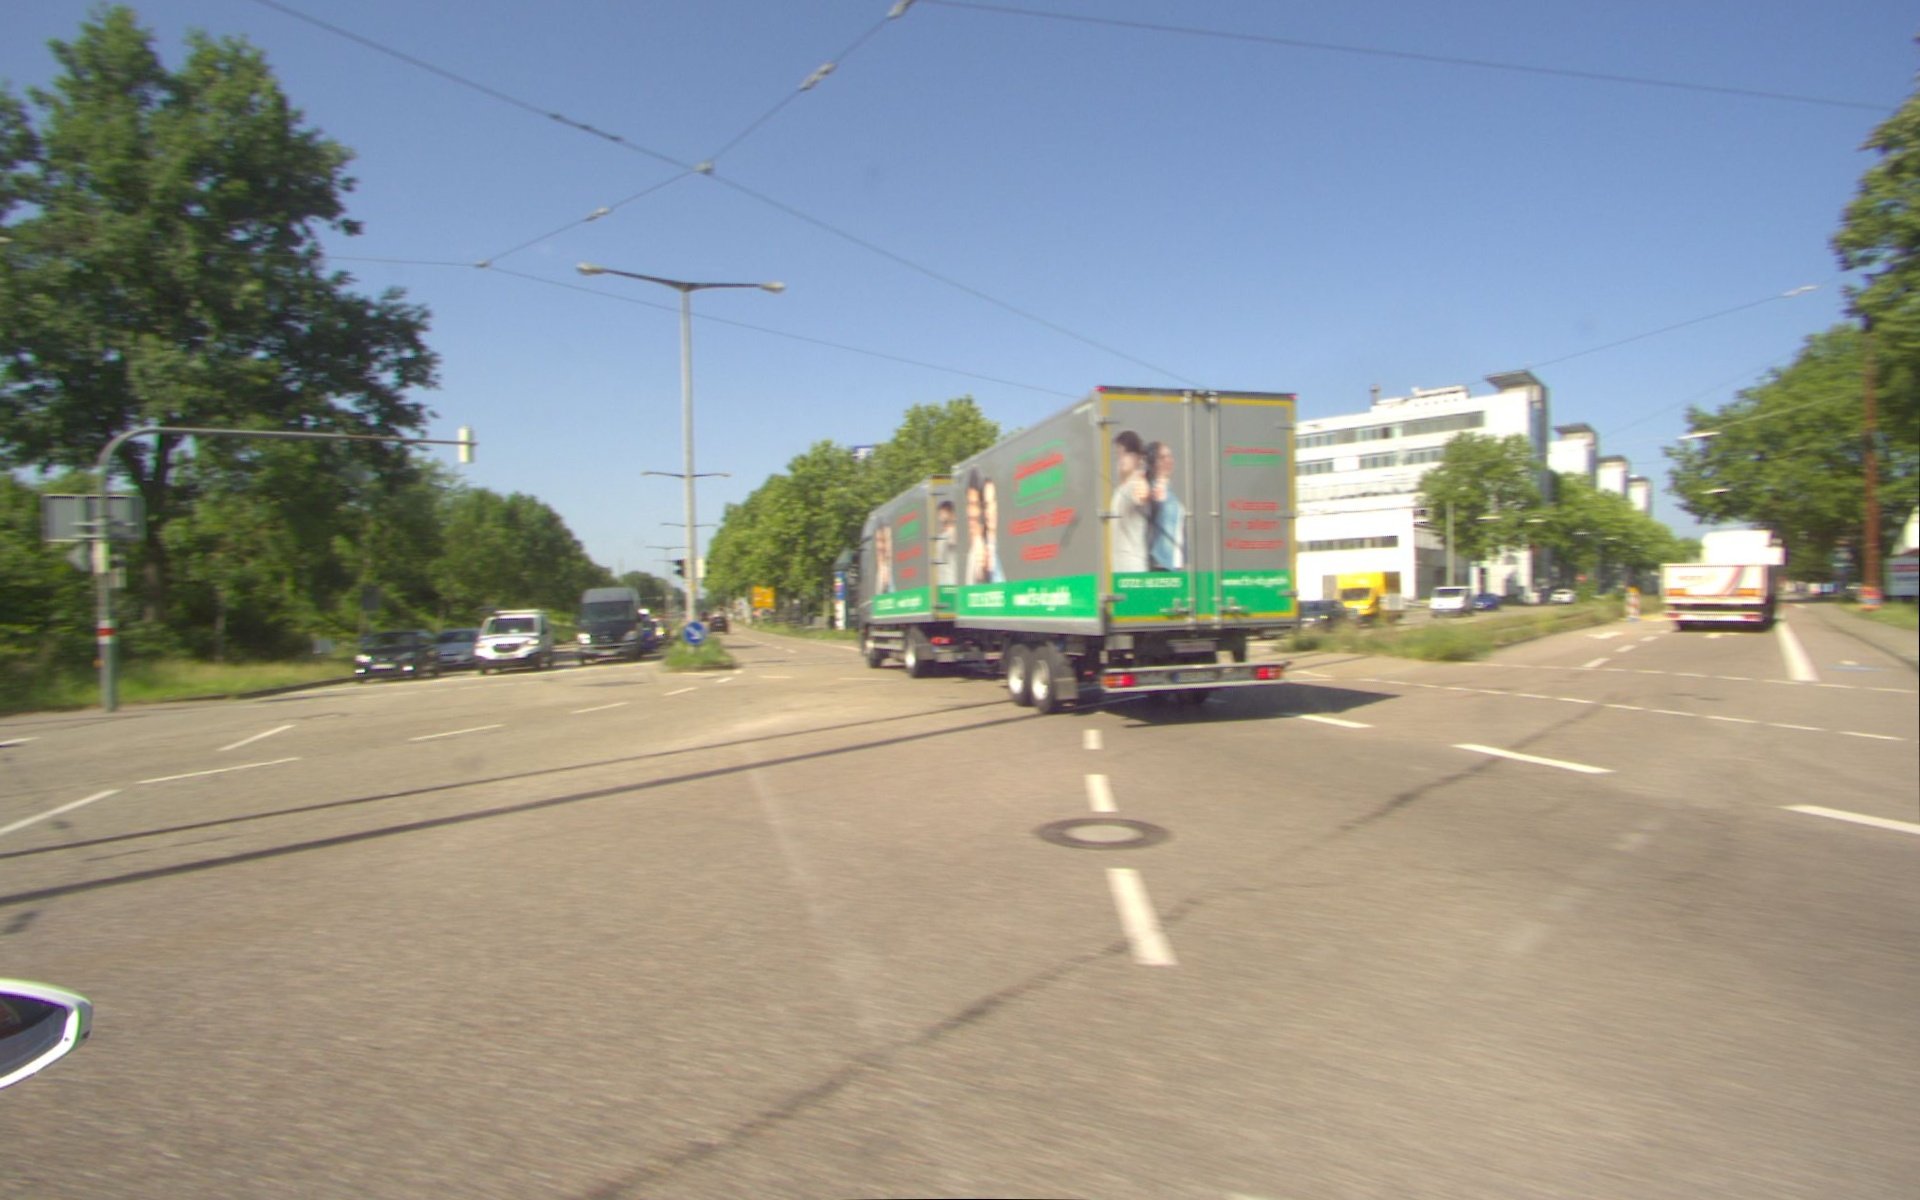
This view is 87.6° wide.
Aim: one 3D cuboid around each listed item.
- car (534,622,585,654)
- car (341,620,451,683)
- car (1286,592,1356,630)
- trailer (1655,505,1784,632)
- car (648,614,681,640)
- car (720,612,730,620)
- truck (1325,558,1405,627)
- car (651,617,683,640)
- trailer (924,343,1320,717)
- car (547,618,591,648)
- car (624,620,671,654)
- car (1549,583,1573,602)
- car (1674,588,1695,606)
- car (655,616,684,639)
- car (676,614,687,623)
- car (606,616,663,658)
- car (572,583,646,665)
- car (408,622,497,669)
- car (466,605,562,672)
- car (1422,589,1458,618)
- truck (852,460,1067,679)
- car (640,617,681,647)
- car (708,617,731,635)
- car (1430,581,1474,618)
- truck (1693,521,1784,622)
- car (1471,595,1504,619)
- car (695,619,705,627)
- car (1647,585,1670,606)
[{"bbox_3d":[-21.361,2.023,53.573,1.964,1.605,4.451,1,-2,-14],"label":"car"},{"bbox_3d":[-16.527,1.475,29.536,1.883,1.662,3.733,-1,-1,-15],"label":"car"},{"bbox_3d":[16.227,0.537,44.935,1.973,1.572,3.977,0,-2,35],"label":"car"},{"bbox_3d":[27.247,-0.986,35.645,2.785,3.823,11.750,-2,0,41],"label":"trailer"},{"bbox_3d":[-19.593,1.808,66.501,1.964,1.661,3.995,1,-2,-15],"label":"car"},{"bbox_3d":[-47.946,3.270,204.212,1.964,1.605,4.451,1,-2,-14],"label":"car"},{"bbox_3d":[20.697,-0.251,50.914,2.269,3.175,6.921,0,-2,35],"label":"truck"},{"bbox_3d":[-20.968,2.029,71.780,1.964,1.605,3.996,1,-2,-14],"label":"car"},{"bbox_3d":[1.690,-0.637,14.584,2.696,3.926,7.726,-1,-1,-15],"label":"trailer"},{"bbox_3d":[-23.715,1.975,60.836,1.964,1.700,4.231,-1,-1,-15],"label":"car"},{"bbox_3d":[-15.529,1.840,49.914,1.964,1.605,3.996,1,-2,-14],"label":"car"},{"bbox_3d":[70.384,-0.858,117.297,1.975,2.039,3.973,0,-2,38],"label":"car"},{"bbox_3d":[89.974,-0.316,124.307,1.975,2.039,3.974,0,-2,37],"label":"car"},{"bbox_3d":[-22.054,2.095,76.099,1.964,1.661,3.995,1,-2,-15],"label":"car"},{"bbox_3d":[-53.738,3.638,193.461,1.964,1.605,4.451,1,-2,-14],"label":"car"},{"bbox_3d":[-13.725,1.548,42.401,1.963,1.605,3.996,-2,-1,-14],"label":"car"},{"bbox_3d":[-12.220,0.851,35.163,1.964,2.641,5.128,-1,-1,-15],"label":"car"},{"bbox_3d":[-18.311,1.614,36.345,1.964,1.560,4.231,-1,-1,-15],"label":"car"},{"bbox_3d":[-13.956,1.189,31.592,1.964,1.894,4.768,-1,-1,-15],"label":"car"},{"bbox_3d":[36.326,0.315,75.709,1.972,2.039,3.980,0,-2,32],"label":"car"},{"bbox_3d":[-0.429,-0.427,22.539,2.689,3.939,8.712,0,-1,-15],"label":"truck"},{"bbox_3d":[-16.478,1.773,55.320,1.964,1.605,3.996,1,-2,-14],"label":"car"},{"bbox_3d":[-22.384,2.407,93.154,1.964,1.605,4.451,1,-2,-14],"label":"car"},{"bbox_3d":[31.804,-0.003,64.647,1.973,2.230,3.977,0,-2,35],"label":"car"},{"bbox_3d":[32.206,-1.075,41.370,2.767,3.878,5.064,0,0,40],"label":"truck"},{"bbox_3d":[41.378,0.580,78.450,1.972,1.816,3.980,0,-2,32],"label":"car"},{"bbox_3d":[-50.559,4.524,194.747,1.964,1.605,4.451,1,-2,-14],"label":"car"},{"bbox_3d":[73.461,-0.430,105.343,1.974,2.039,3.976,0,-2,36],"label":"car"}]
